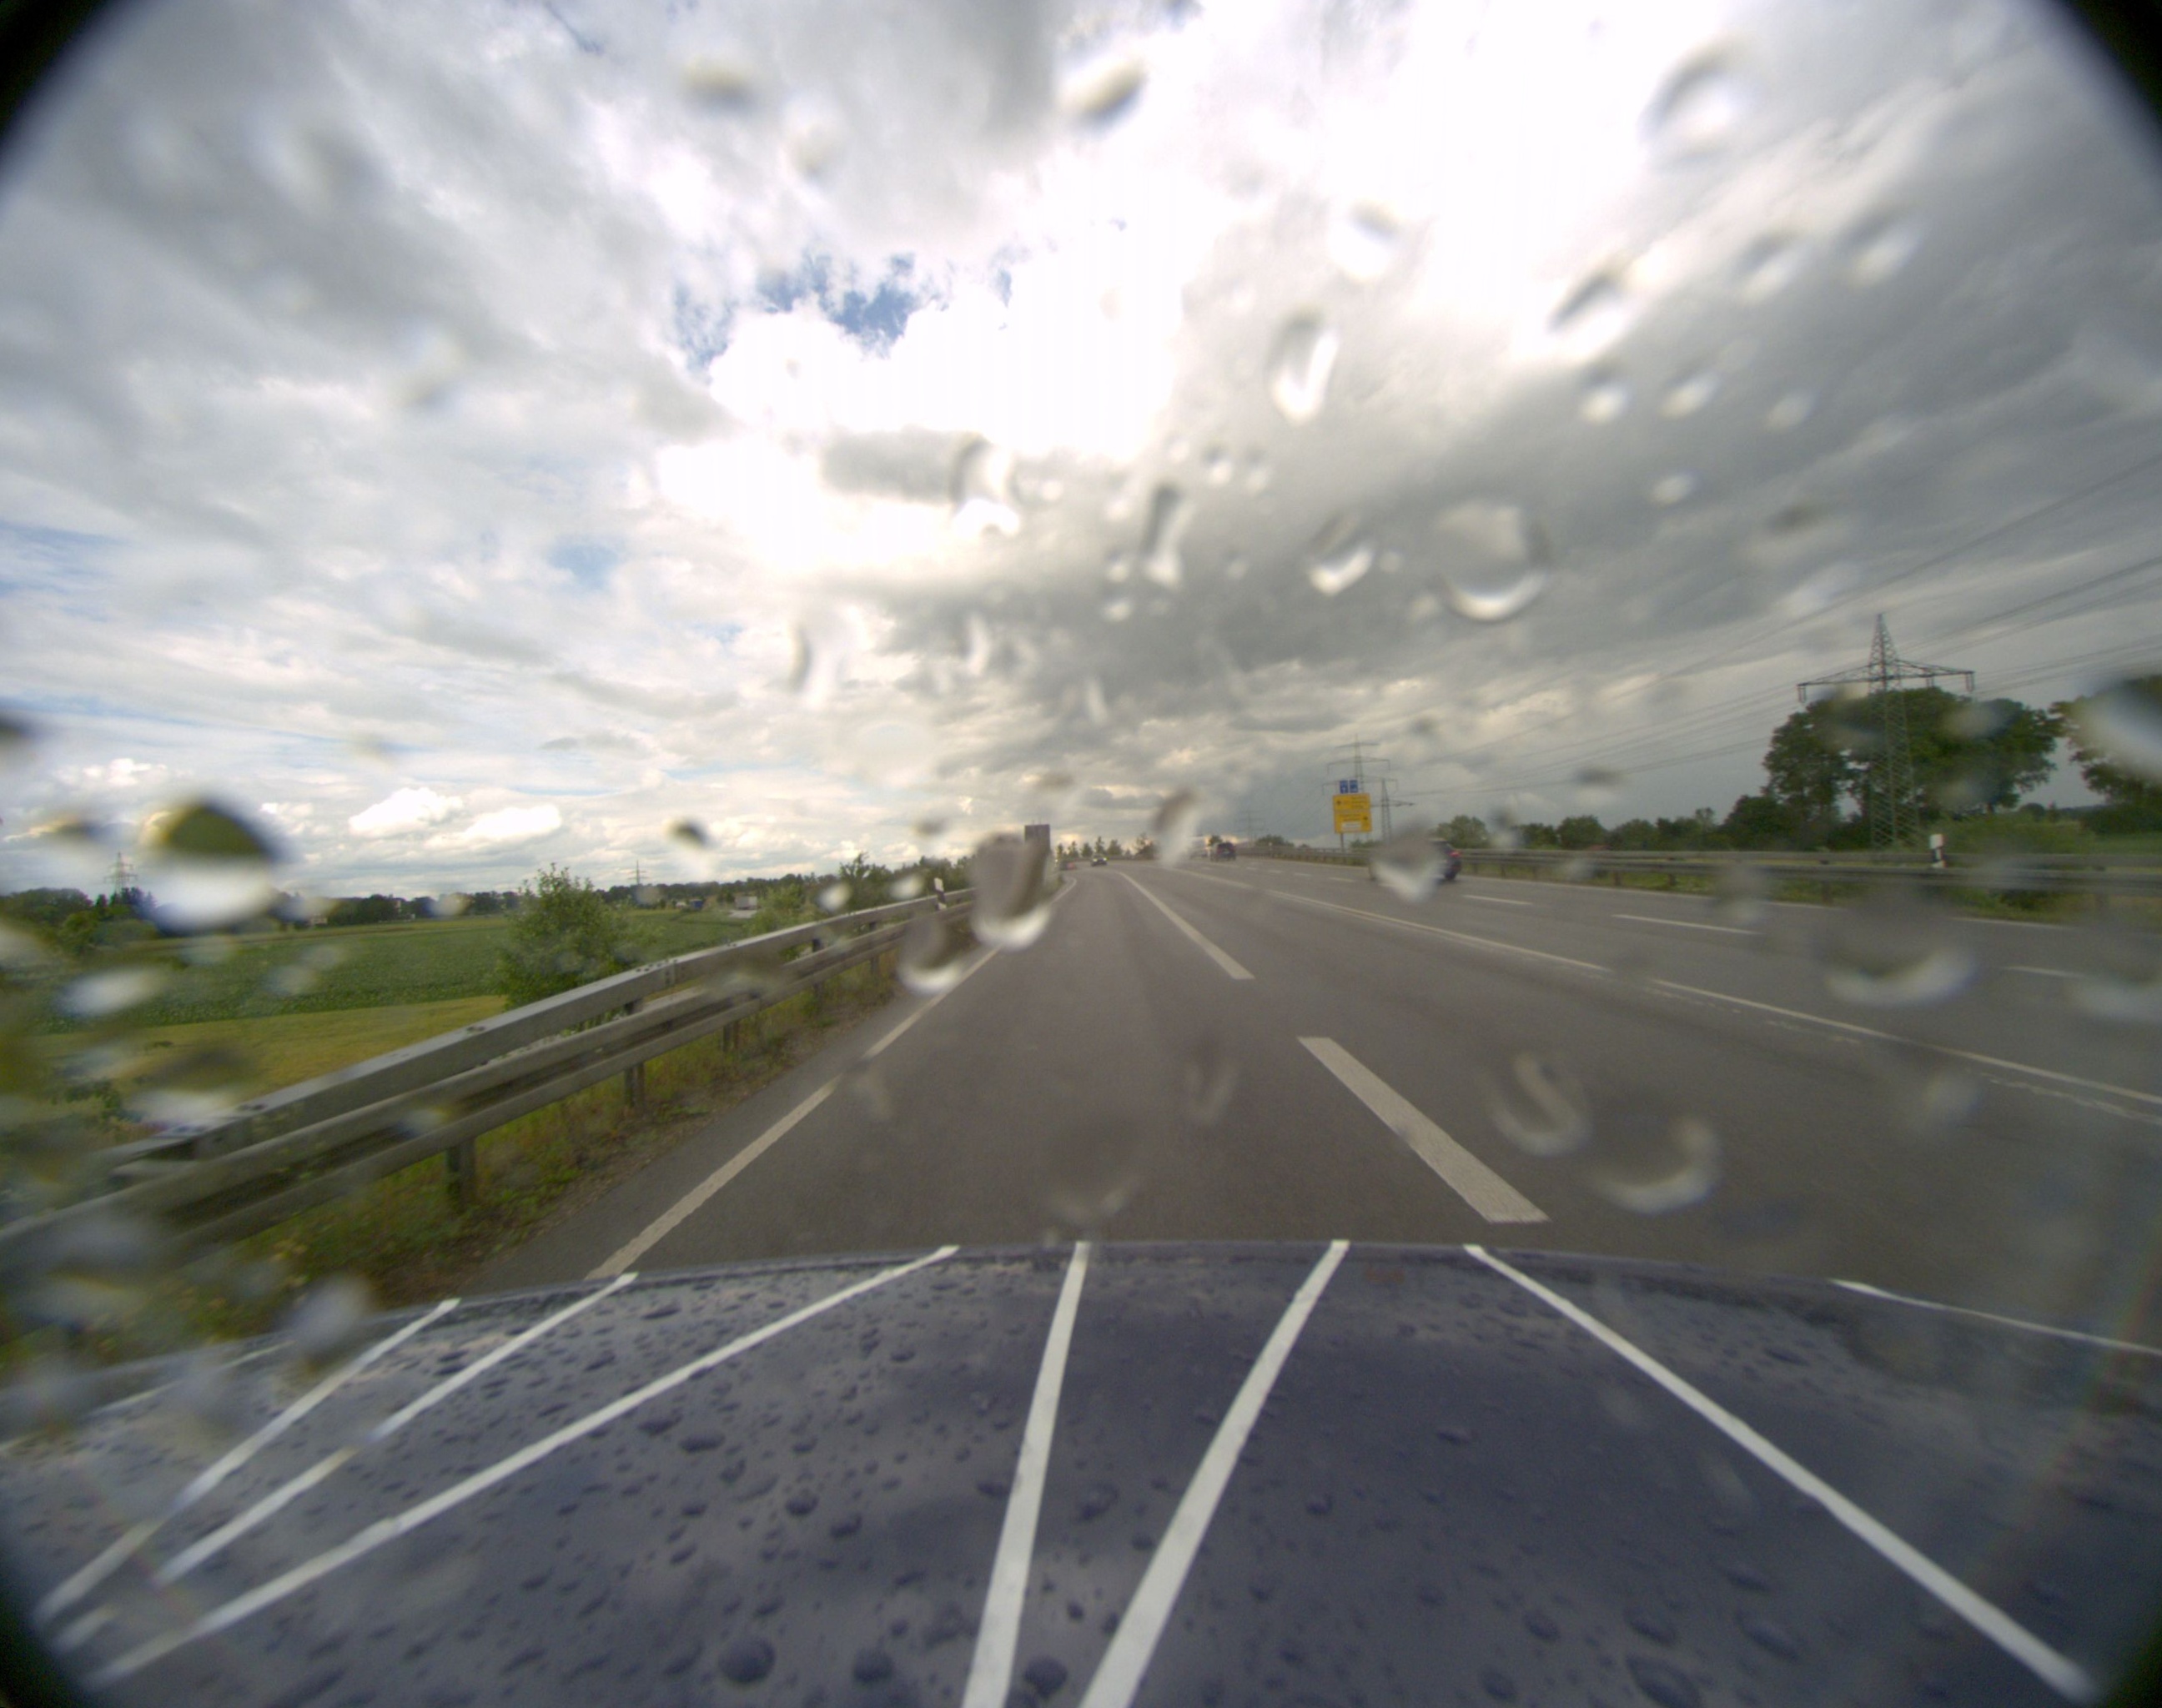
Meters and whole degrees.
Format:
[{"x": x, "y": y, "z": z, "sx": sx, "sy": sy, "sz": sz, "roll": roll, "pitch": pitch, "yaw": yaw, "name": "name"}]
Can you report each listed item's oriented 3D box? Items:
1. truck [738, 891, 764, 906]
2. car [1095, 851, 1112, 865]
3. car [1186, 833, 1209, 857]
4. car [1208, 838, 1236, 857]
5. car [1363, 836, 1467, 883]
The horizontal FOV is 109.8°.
[{"x": -100.352, "y": 13.595, "z": 230.673, "sx": 3.262, "sy": 4.312, "sz": 11.661, "roll": -5, "pitch": 1, "yaw": -42, "name": "truck"}, {"x": 3.109, "y": 0.544, "z": 105.946, "sx": 1.796, "sy": 1.758, "sz": 4.000, "roll": -2, "pitch": -2, "yaw": -4, "name": "car"}, {"x": 13.778, "y": -1.019, "z": 89.920, "sx": 1.974, "sy": 2.639, "sz": 5.460, "roll": -4, "pitch": 1, "yaw": 3, "name": "car"}, {"x": 12.640, "y": -0.586, "z": 68.283, "sx": 1.712, "sy": 1.600, "sz": 4.637, "roll": -4, "pitch": 0, "yaw": 1, "name": "car"}, {"x": 11.876, "y": 0.170, "z": 27.382, "sx": 1.774, "sy": 1.418, "sz": 4.735, "roll": -4, "pitch": 0, "yaw": 3, "name": "car"}]
